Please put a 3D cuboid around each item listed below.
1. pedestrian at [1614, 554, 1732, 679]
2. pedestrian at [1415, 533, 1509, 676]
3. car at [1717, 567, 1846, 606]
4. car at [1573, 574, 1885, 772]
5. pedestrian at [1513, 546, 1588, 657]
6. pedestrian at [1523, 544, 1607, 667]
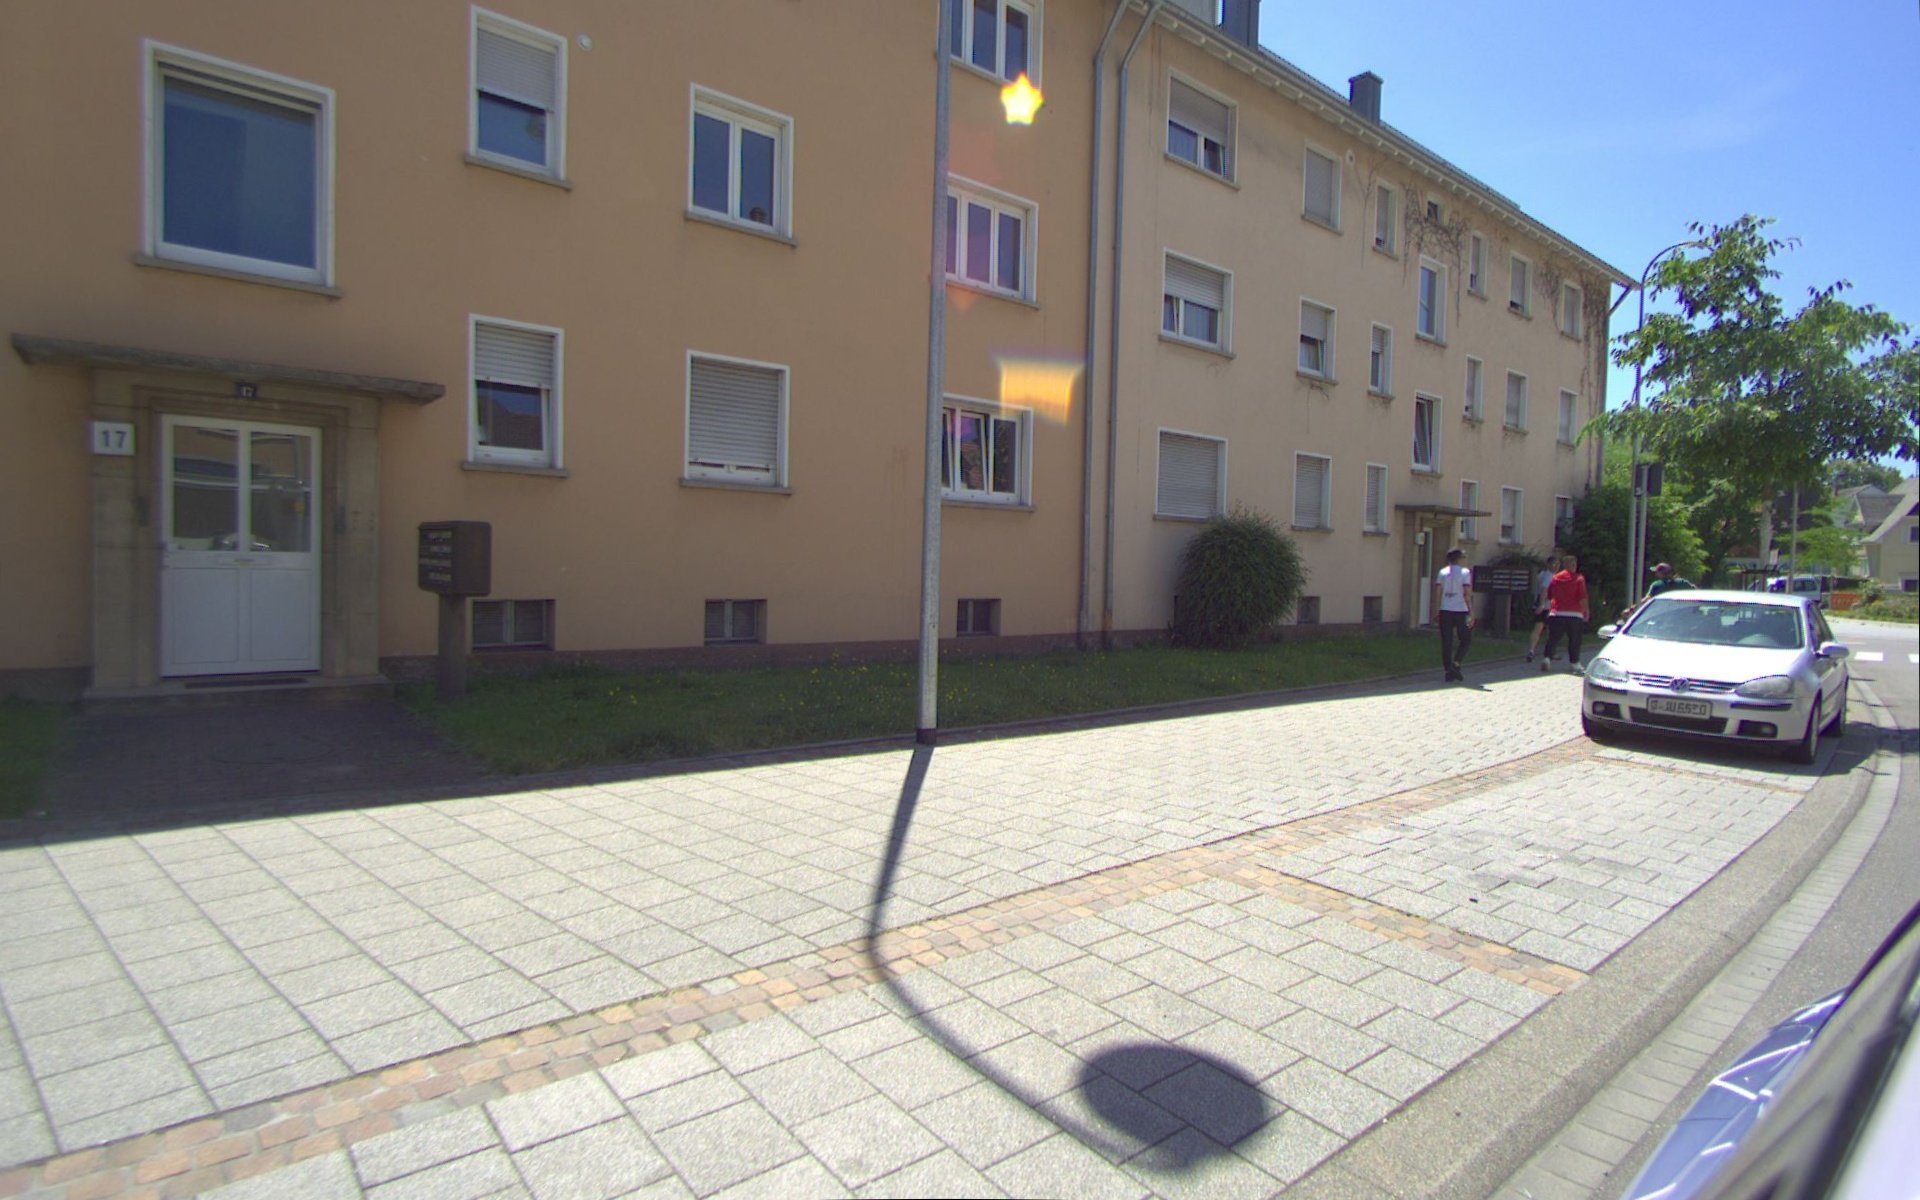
[{"bbox_3d":[10.925,0.220,15.510,1.172,1.753,1.173,-1,5,-45],"label":"pedestrian"},{"bbox_3d":[6.898,0.036,13.905,0.968,1.876,0.821,0,2,-44],"label":"pedestrian"},{"bbox_3d":[40.219,-0.687,49.660,4.486,1.758,1.998,2,2,5],"label":"car"},{"bbox_3d":[7.907,0.525,10.233,4.433,1.494,1.815,-1,4,-44],"label":"car"},{"bbox_3d":[9.992,0.009,17.119,0.992,1.800,0.794,0,2,-44],"label":"pedestrian"},{"bbox_3d":[9.503,0.071,15.895,0.989,1.833,0.789,0,4,-44],"label":"pedestrian"}]
